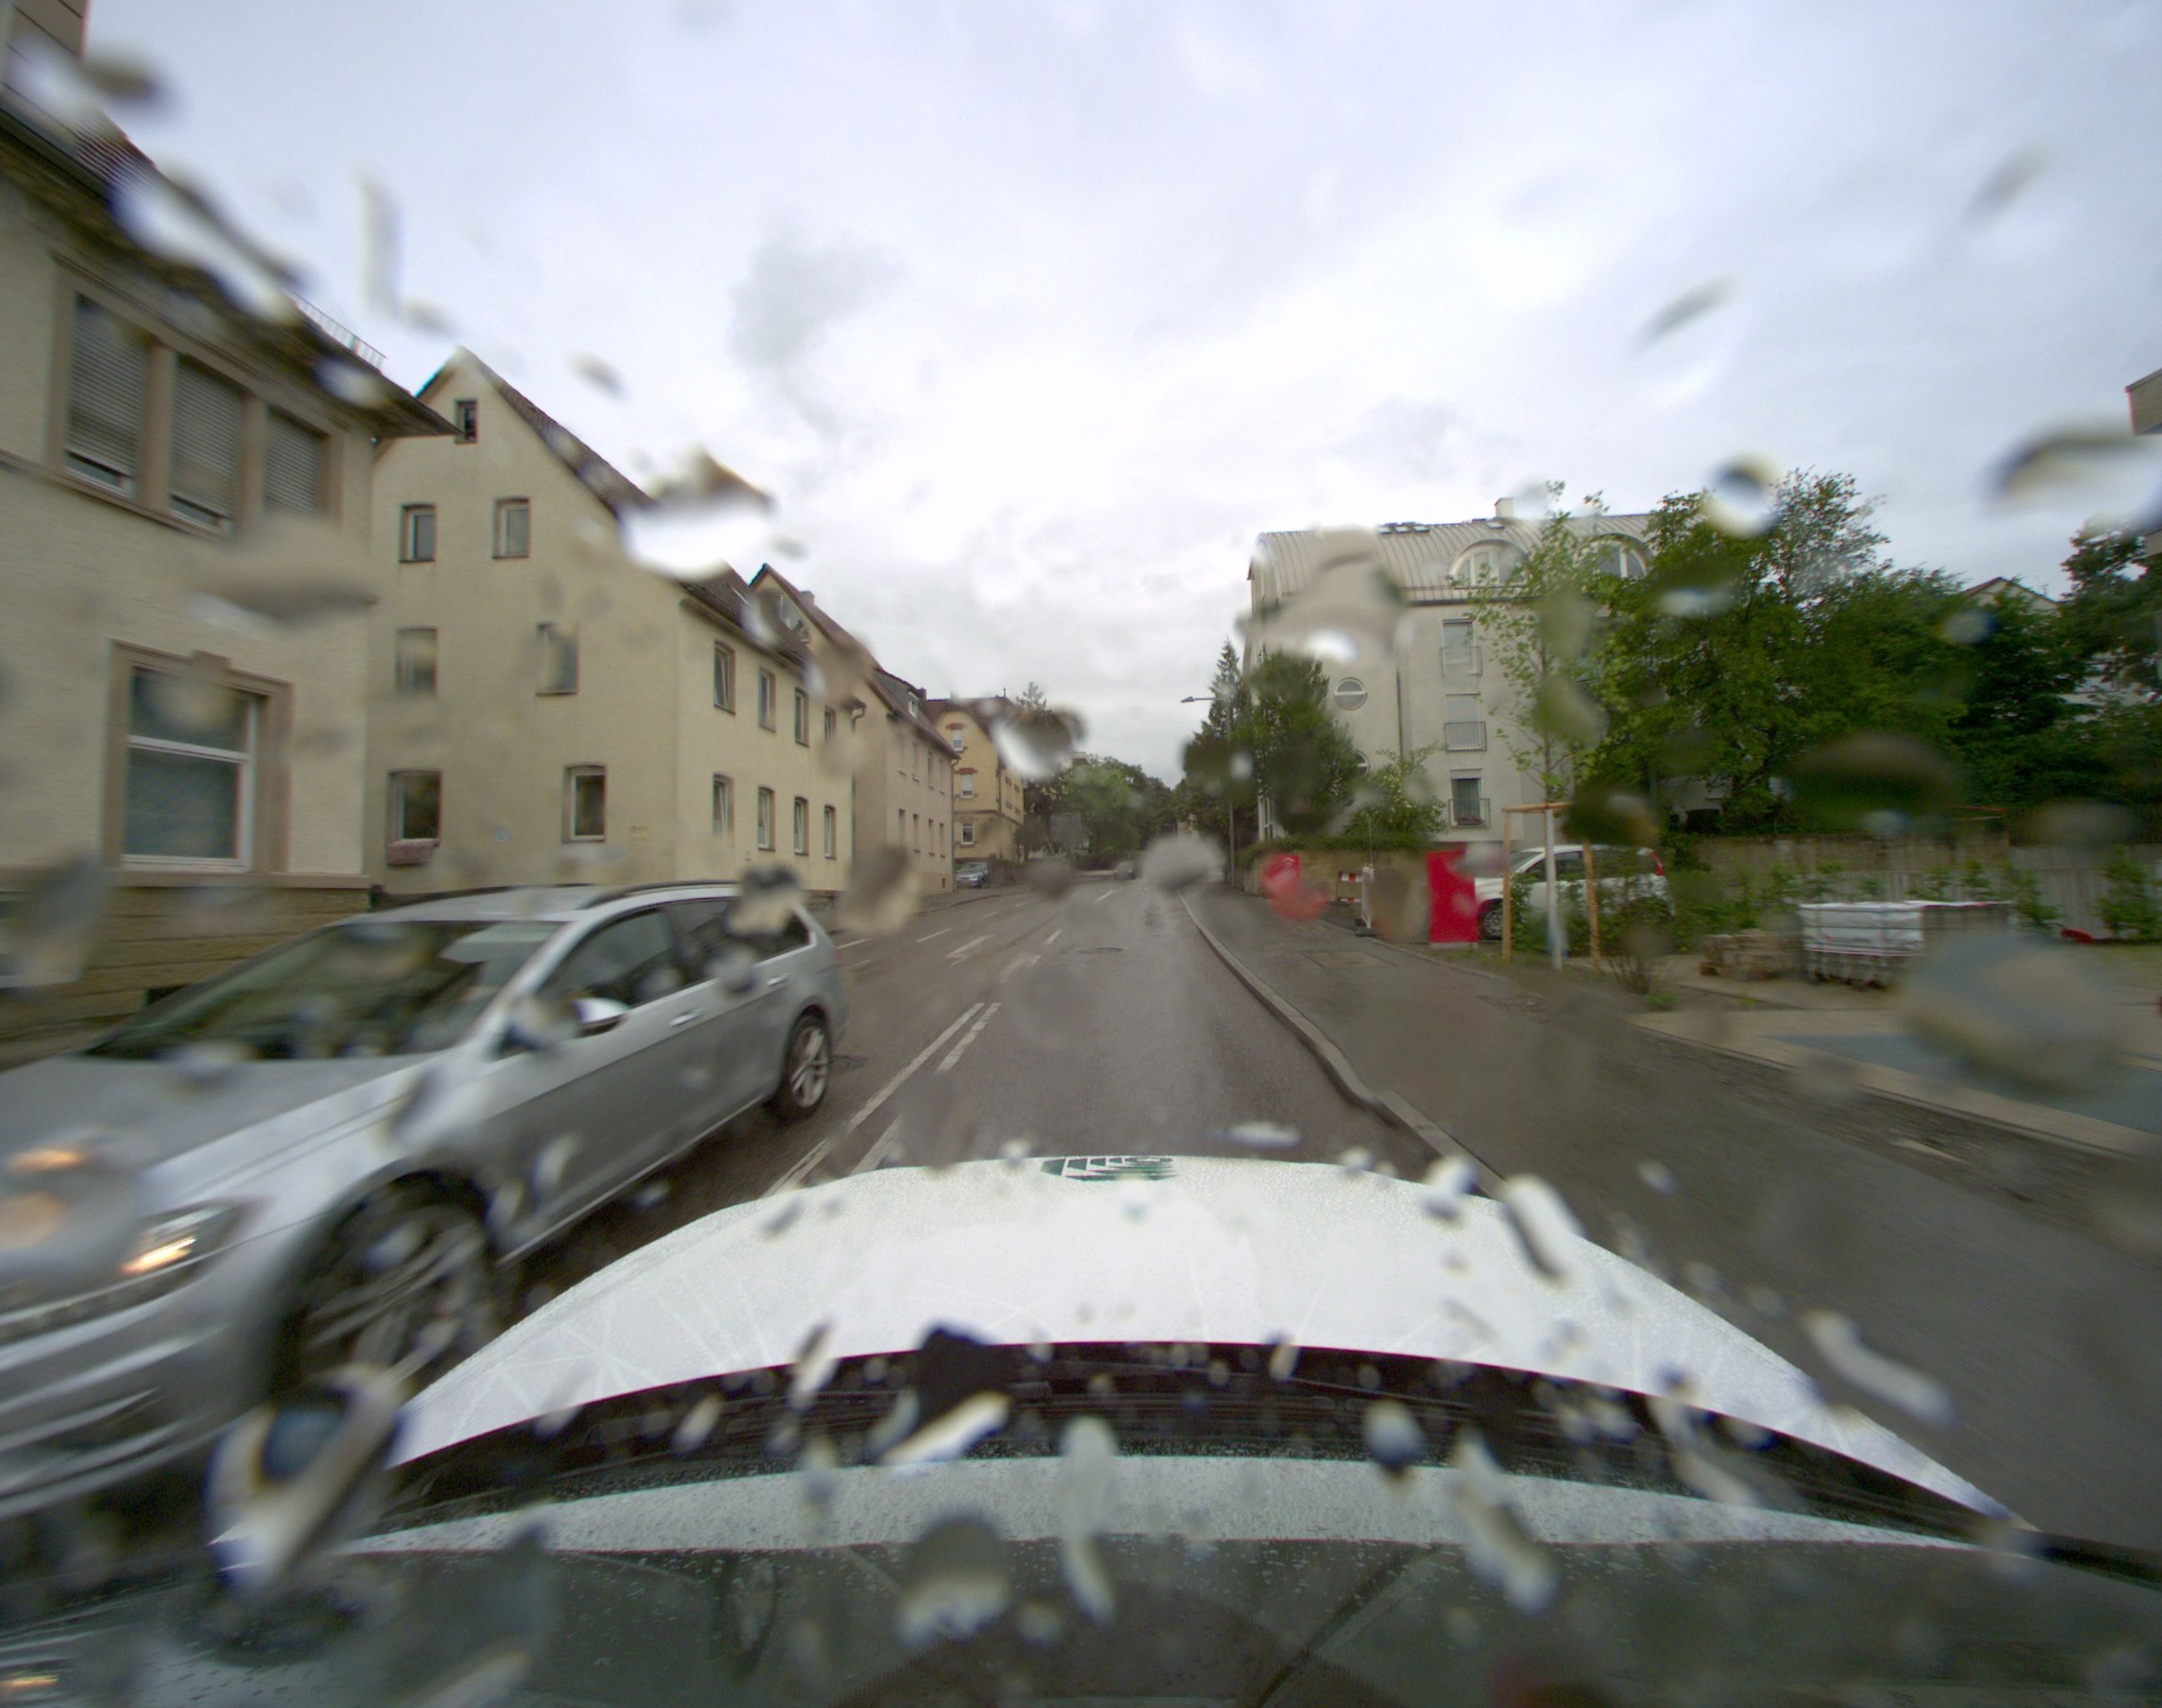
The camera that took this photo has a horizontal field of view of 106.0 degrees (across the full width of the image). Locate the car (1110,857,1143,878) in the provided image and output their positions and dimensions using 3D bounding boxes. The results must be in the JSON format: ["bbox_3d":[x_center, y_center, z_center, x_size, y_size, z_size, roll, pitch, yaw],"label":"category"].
[{"bbox_3d":[3.617,1.049,64.068,1.732,1.571,3.828,1,0,15],"label":"car"}]

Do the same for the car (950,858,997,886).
[{"bbox_3d":[-6.219,1.009,47.566,1.761,1.503,3.890,-1,0,7],"label":"car"}]

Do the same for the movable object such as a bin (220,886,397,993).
[{"bbox_3d":[-10.026,1.081,10.623,1.274,1.266,1.051,-1,0,3],"label":"movable object such as a bin"}]

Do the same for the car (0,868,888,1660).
[{"bbox_3d":[-2.630,0.858,3.991,1.790,1.439,4.696,-1,0,6],"label":"car"}]

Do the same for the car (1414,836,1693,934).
[{"bbox_3d":[7.777,0.492,13.692,3.650,1.503,1.778,-1,0,4],"label":"car"}]
